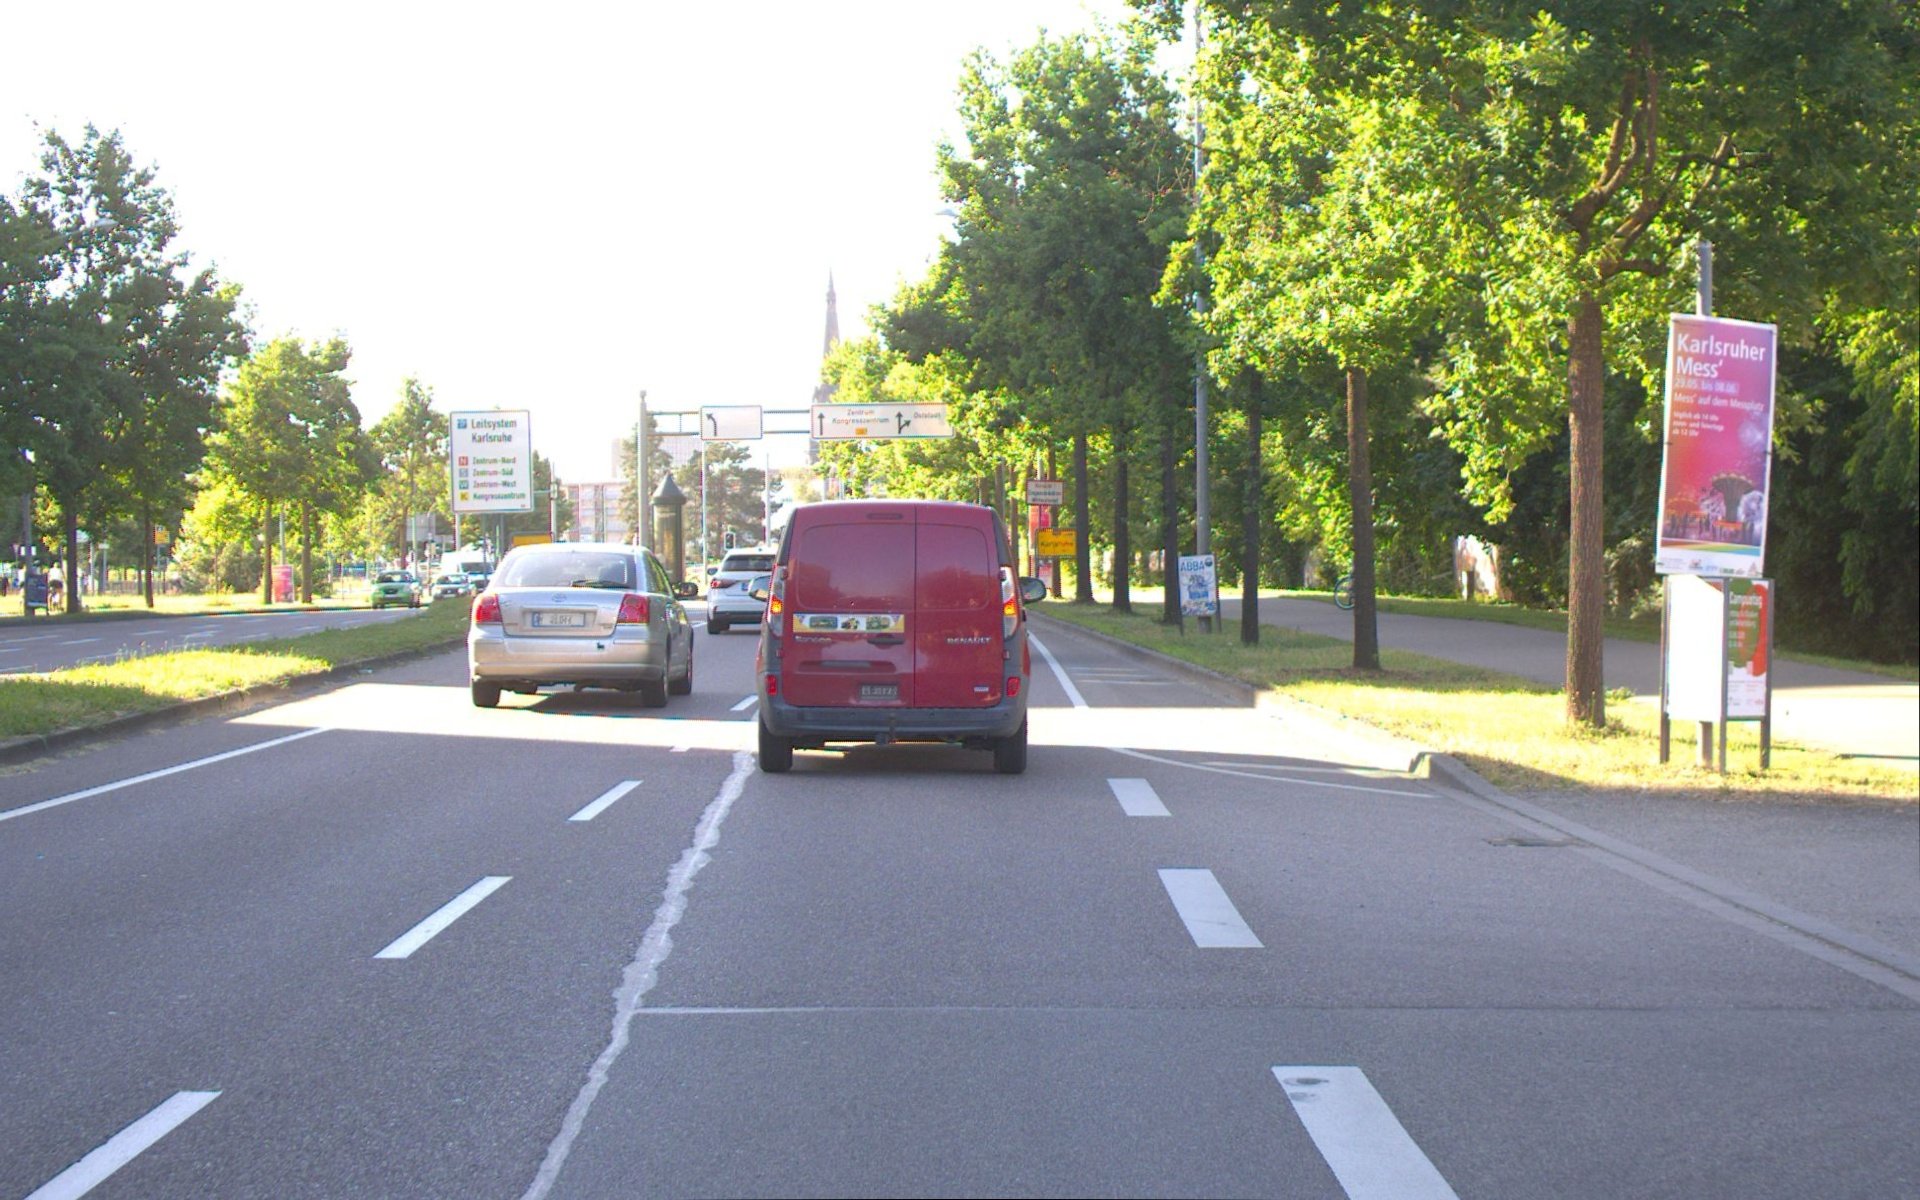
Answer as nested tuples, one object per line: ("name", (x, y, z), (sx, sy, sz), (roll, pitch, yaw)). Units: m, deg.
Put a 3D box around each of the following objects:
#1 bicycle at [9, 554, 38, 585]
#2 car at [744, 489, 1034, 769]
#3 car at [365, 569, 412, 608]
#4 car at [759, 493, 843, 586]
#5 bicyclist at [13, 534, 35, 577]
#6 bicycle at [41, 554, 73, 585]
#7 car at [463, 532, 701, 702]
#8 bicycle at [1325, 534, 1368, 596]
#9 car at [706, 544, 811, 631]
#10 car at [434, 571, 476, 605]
("bicycle", (-30.446, -0.983, 111.787), (0.487, 1.000, 2.096), (-1, 0, -3))
("car", (-0.525, 0.149, 23.614), (1.806, 1.753, 4.006), (0, 1, -2))
("car", (-22.186, -0.451, 133.527), (1.446, 1.431, 3.460), (-1, 1, -3))
("car", (-3.265, -1.257, 70.959), (1.661, 1.850, 3.559), (-1, 1, -2))
("bicyclist", (-30.462, -1.452, 111.900), (0.482, 1.390, 0.844), (-1, 0, -3))
("bicycle", (-29.361, -0.999, 111.793), (0.570, 1.000, 2.096), (-1, 0, -3))
("car", (-3.407, 0.112, 31.650), (1.841, 1.451, 4.163), (0, 1, -2))
("bicycle", (7.230, -0.660, 64.318), (0.774, 1.127, 1.708), (-1, 1, 6))
("car", (-3.343, -0.232, 57.418), (1.661, 1.393, 3.559), (-1, 1, -2))
("car", (-23.222, -0.570, 158.183), (1.550, 1.503, 4.027), (-1, 1, -3))
